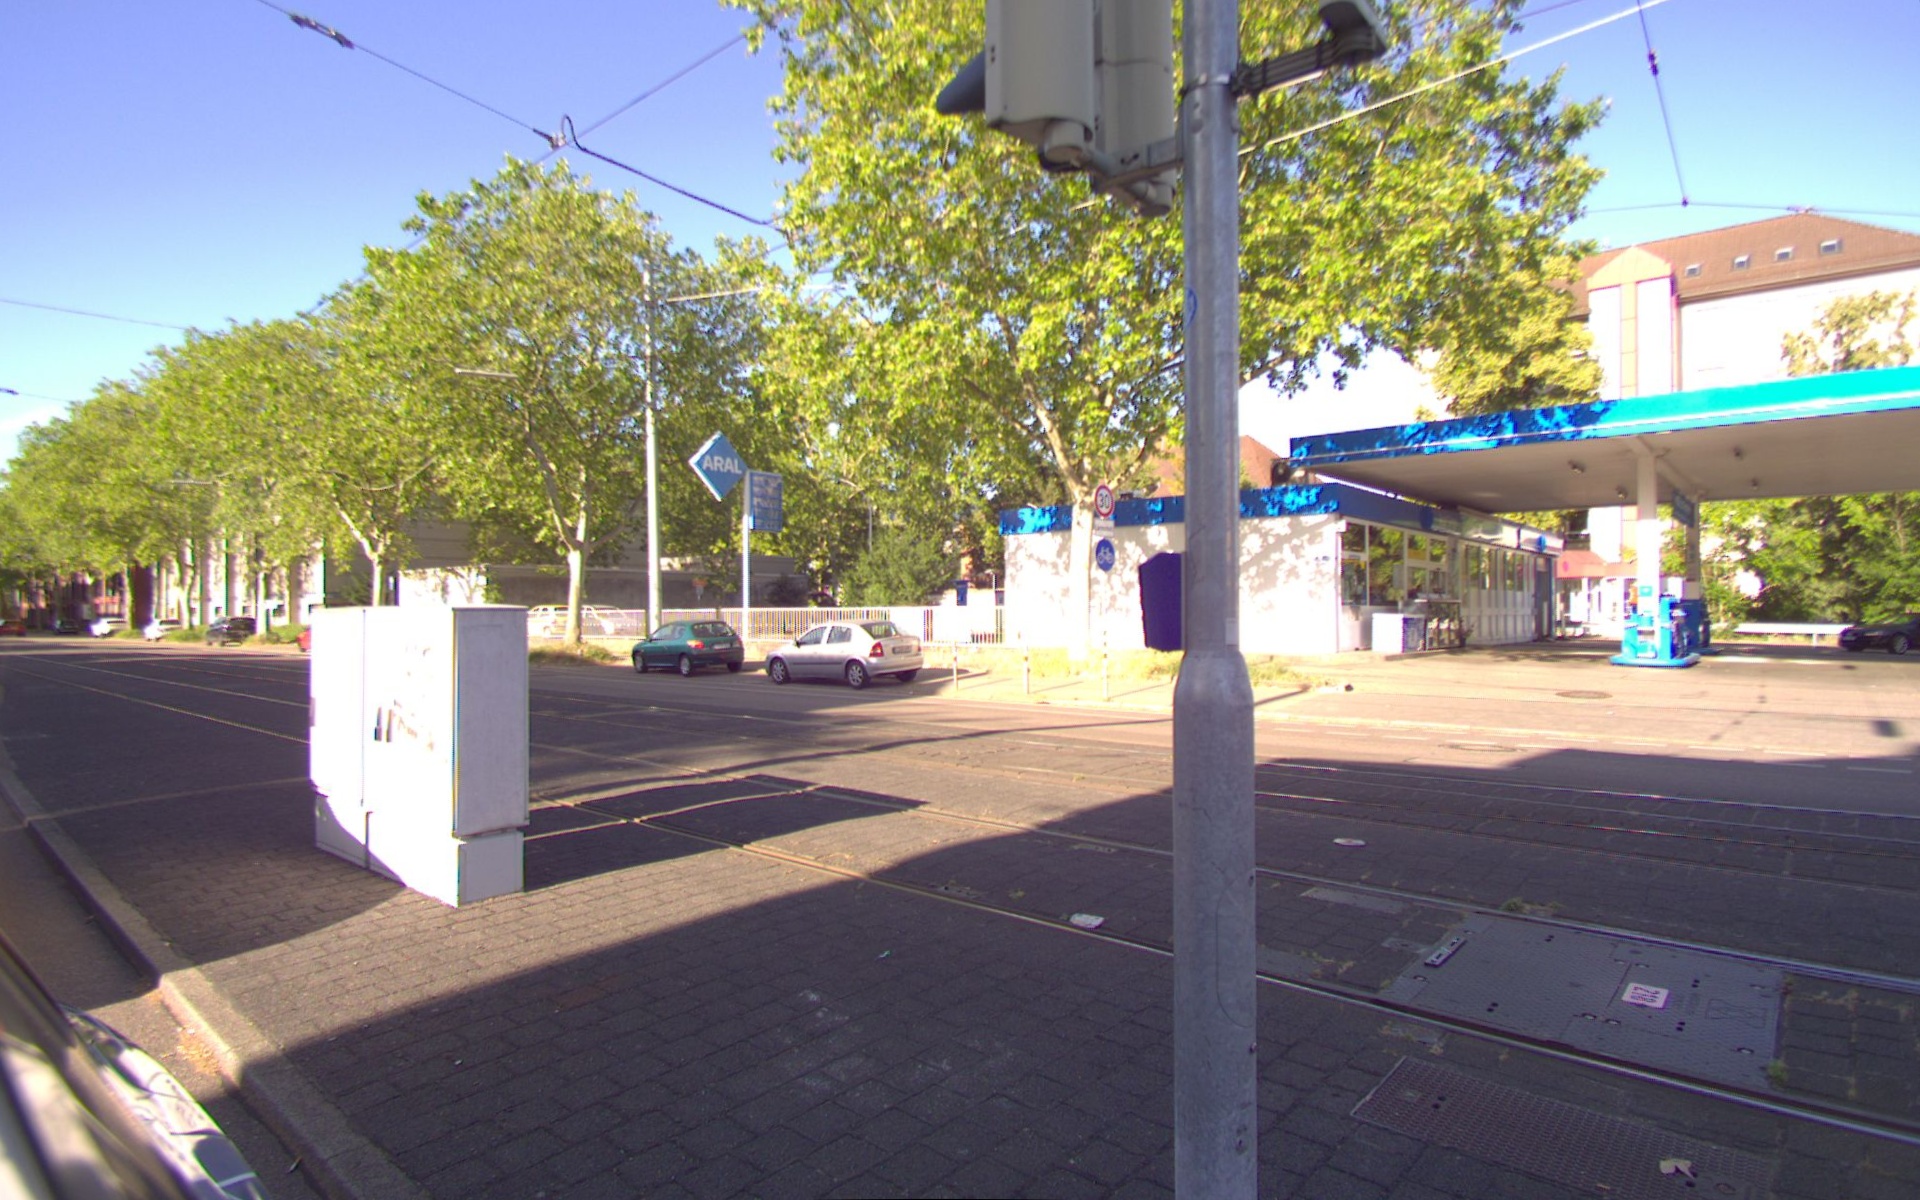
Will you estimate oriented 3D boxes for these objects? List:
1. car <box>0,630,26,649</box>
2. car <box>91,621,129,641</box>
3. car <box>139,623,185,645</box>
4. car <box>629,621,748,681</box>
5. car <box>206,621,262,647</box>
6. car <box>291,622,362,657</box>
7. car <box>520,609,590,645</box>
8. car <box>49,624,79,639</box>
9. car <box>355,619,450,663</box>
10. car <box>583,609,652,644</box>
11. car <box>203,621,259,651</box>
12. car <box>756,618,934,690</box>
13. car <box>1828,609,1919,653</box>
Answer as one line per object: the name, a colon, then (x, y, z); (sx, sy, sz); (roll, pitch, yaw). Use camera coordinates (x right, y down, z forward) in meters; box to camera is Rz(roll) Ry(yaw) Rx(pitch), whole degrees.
car: (-80.582, 3.340, 85.519); (4.761, 1.534, 1.887); (-1, -2, 40)
car: (-66.805, 2.413, 79.560); (3.998, 1.569, 1.678); (-1, -2, 41)
car: (-53.804, 2.290, 68.212); (3.998, 1.420, 1.678); (-1, -2, 41)
car: (-7.245, 1.301, 26.886); (3.253, 1.431, 1.526); (-1, 0, 41)
car: (-40.595, 1.887, 56.587); (3.998, 1.420, 1.678); (-1, -2, 41)
car: (-28.957, 1.793, 46.237); (3.998, 1.480, 1.678); (0, -1, 41)
car: (-16.821, 1.095, 41.977); (3.151, 1.431, 1.525); (-1, 0, 44)
car: (-85.175, 2.972, 96.178); (3.998, 1.420, 1.678); (-1, -2, 41)
car: (-22.152, 1.572, 40.130); (4.431, 1.534, 1.731); (-1, 3, 40)
car: (-14.761, 1.122, 43.543); (3.151, 1.431, 1.525); (-1, 0, 44)
car: (-40.730, 1.980, 56.547); (3.998, 1.587, 1.678); (-1, -2, 41)
car: (-2.634, 1.140, 22.675); (3.998, 1.431, 1.709); (-1, 0, 41)
car: (29.948, 0.957, 32.200); (3.425, 1.309, 1.669); (-1, 0, -8)
